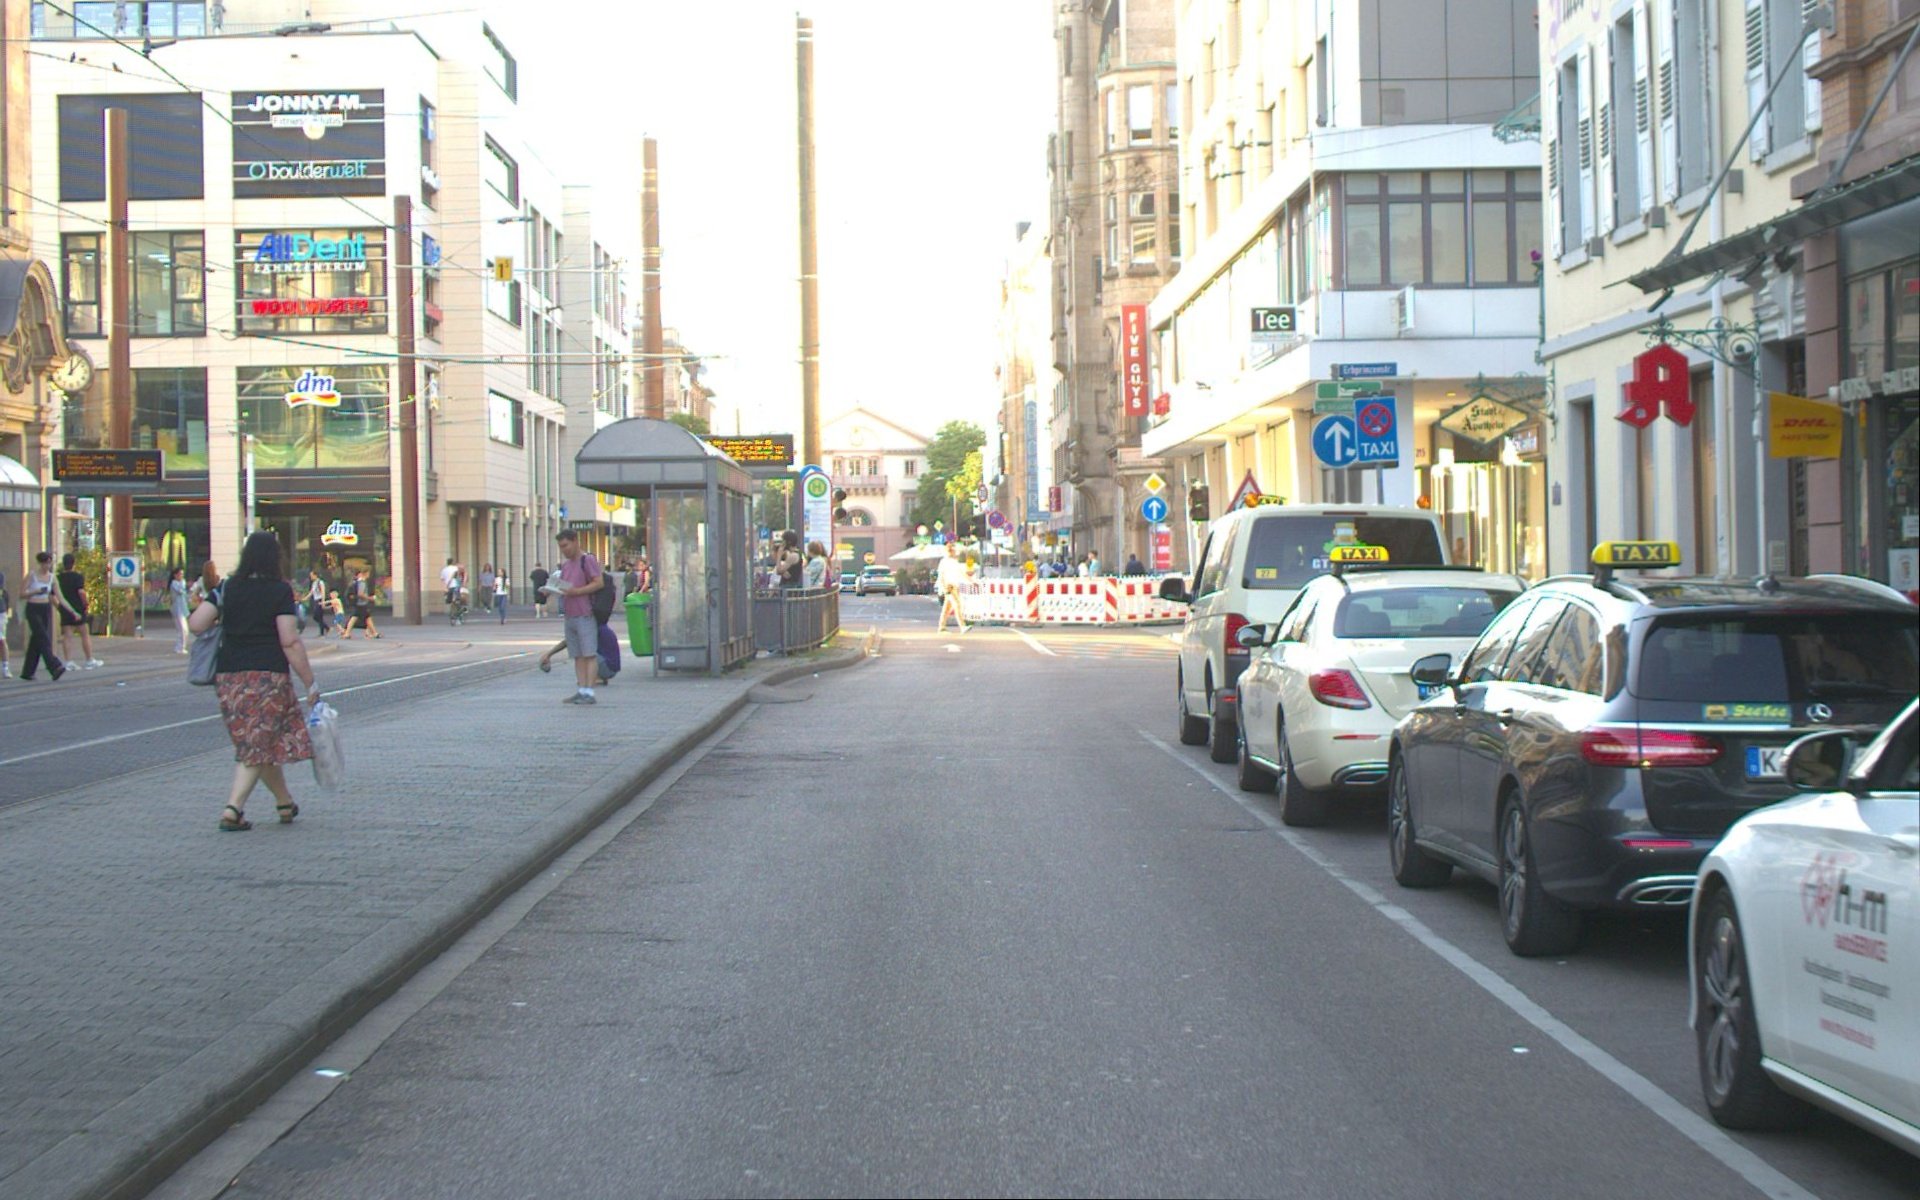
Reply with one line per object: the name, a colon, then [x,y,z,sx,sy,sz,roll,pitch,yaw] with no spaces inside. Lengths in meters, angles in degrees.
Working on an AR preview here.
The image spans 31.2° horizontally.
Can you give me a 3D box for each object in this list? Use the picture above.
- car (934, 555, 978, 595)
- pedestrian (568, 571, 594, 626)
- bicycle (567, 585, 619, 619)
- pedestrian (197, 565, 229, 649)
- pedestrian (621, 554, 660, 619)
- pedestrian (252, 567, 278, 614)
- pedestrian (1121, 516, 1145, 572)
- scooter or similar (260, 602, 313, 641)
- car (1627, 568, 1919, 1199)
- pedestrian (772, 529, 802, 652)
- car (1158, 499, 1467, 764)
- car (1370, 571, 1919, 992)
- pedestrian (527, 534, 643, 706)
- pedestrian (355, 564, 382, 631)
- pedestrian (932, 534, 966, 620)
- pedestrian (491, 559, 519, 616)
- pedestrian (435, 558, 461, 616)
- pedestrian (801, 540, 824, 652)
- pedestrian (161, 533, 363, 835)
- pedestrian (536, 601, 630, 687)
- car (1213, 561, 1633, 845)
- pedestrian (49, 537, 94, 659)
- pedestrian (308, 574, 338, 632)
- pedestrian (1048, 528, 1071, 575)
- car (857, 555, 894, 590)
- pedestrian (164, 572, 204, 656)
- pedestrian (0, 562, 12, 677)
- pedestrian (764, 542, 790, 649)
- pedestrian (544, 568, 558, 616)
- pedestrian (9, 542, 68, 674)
car: [-0.172,-1.027,143.389,1.679,1.608,4.028,-2,0,-1]
pedestrian: [-12.063,-0.059,109.363,0.782,1.745,0.600,0,0,-4]
bicycle: [-12.337,0.070,115.654,1.696,1.118,0.451,0,0,2]
pedestrian: [-13.555,0.129,62.383,0.525,1.520,0.503,0,0,-15]
pedestrian: [-8.070,-0.342,86.829,0.769,1.609,0.667,-1,0,-26]
pedestrian: [-22.980,-0.309,113.632,0.573,1.521,0.790,0,0,11]
pedestrian: [5.222,-1.692,103.691,0.625,1.684,0.671,-1,0,-3]
scooter or similar: [-16.388,0.522,83.699,1.093,0.901,0.890,-1,0,1]
car: [2.877,0.706,7.485,1.732,1.506,4.865,1,0,-2]
pedestrian: [-2.496,-0.139,49.606,0.412,1.761,0.594,0,0,-3]
car: [2.743,0.229,27.760,1.876,1.917,4.700,1,0,-1]
car: [2.937,0.638,14.518,1.726,1.472,4.820,0,0,-1]
pedestrian: [-3.606,0.182,33.056,0.687,1.632,0.859,0,1,40]
pedestrian: [-14.176,-0.055,82.436,0.569,1.587,0.448,-1,0,-4]
pedestrian: [-0.234,-0.495,72.832,0.699,1.809,0.852,0,0,1]
pedestrian: [-13.415,-0.365,101.359,0.649,1.668,0.530,-1,0,8]
pedestrian: [-16.450,-0.411,110.487,0.573,1.848,0.816,0,0,11]
pedestrian: [-2.379,-0.069,55.438,0.341,1.789,0.544,0,0,-3]
pedestrian: [-3.555,0.416,17.580,0.846,1.496,0.901,-1,0,-1]
pedestrian: [-4.179,0.481,38.105,0.799,0.936,0.692,0,0,22]
car: [2.690,0.534,21.064,1.806,1.478,4.778,1,1,-1]
pedestrian: [-12.965,-0.034,50.169,0.559,1.770,0.469,0,0,-5]
pedestrian: [-15.567,0.065,84.034,0.639,1.415,0.418,0,0,1]
pedestrian: [3.407,-1.653,118.276,0.711,1.605,0.822,0,0,-3]
car: [-4.599,-1.501,187.951,1.993,1.897,4.000,0,0,-1]
pedestrian: [-14.215,0.256,62.952,0.518,1.520,0.501,0,0,18]
pedestrian: [-13.345,0.266,47.090,0.518,1.564,0.638,-1,0,3]
pedestrian: [-2.796,-0.067,52.613,0.385,1.636,0.549,0,0,-3]
pedestrian: [-12.929,-0.253,108.748,0.390,1.510,0.506,-1,0,-2]
pedestrian: [-11.918,0.102,44.472,0.674,1.685,0.638,-1,0,-11]
